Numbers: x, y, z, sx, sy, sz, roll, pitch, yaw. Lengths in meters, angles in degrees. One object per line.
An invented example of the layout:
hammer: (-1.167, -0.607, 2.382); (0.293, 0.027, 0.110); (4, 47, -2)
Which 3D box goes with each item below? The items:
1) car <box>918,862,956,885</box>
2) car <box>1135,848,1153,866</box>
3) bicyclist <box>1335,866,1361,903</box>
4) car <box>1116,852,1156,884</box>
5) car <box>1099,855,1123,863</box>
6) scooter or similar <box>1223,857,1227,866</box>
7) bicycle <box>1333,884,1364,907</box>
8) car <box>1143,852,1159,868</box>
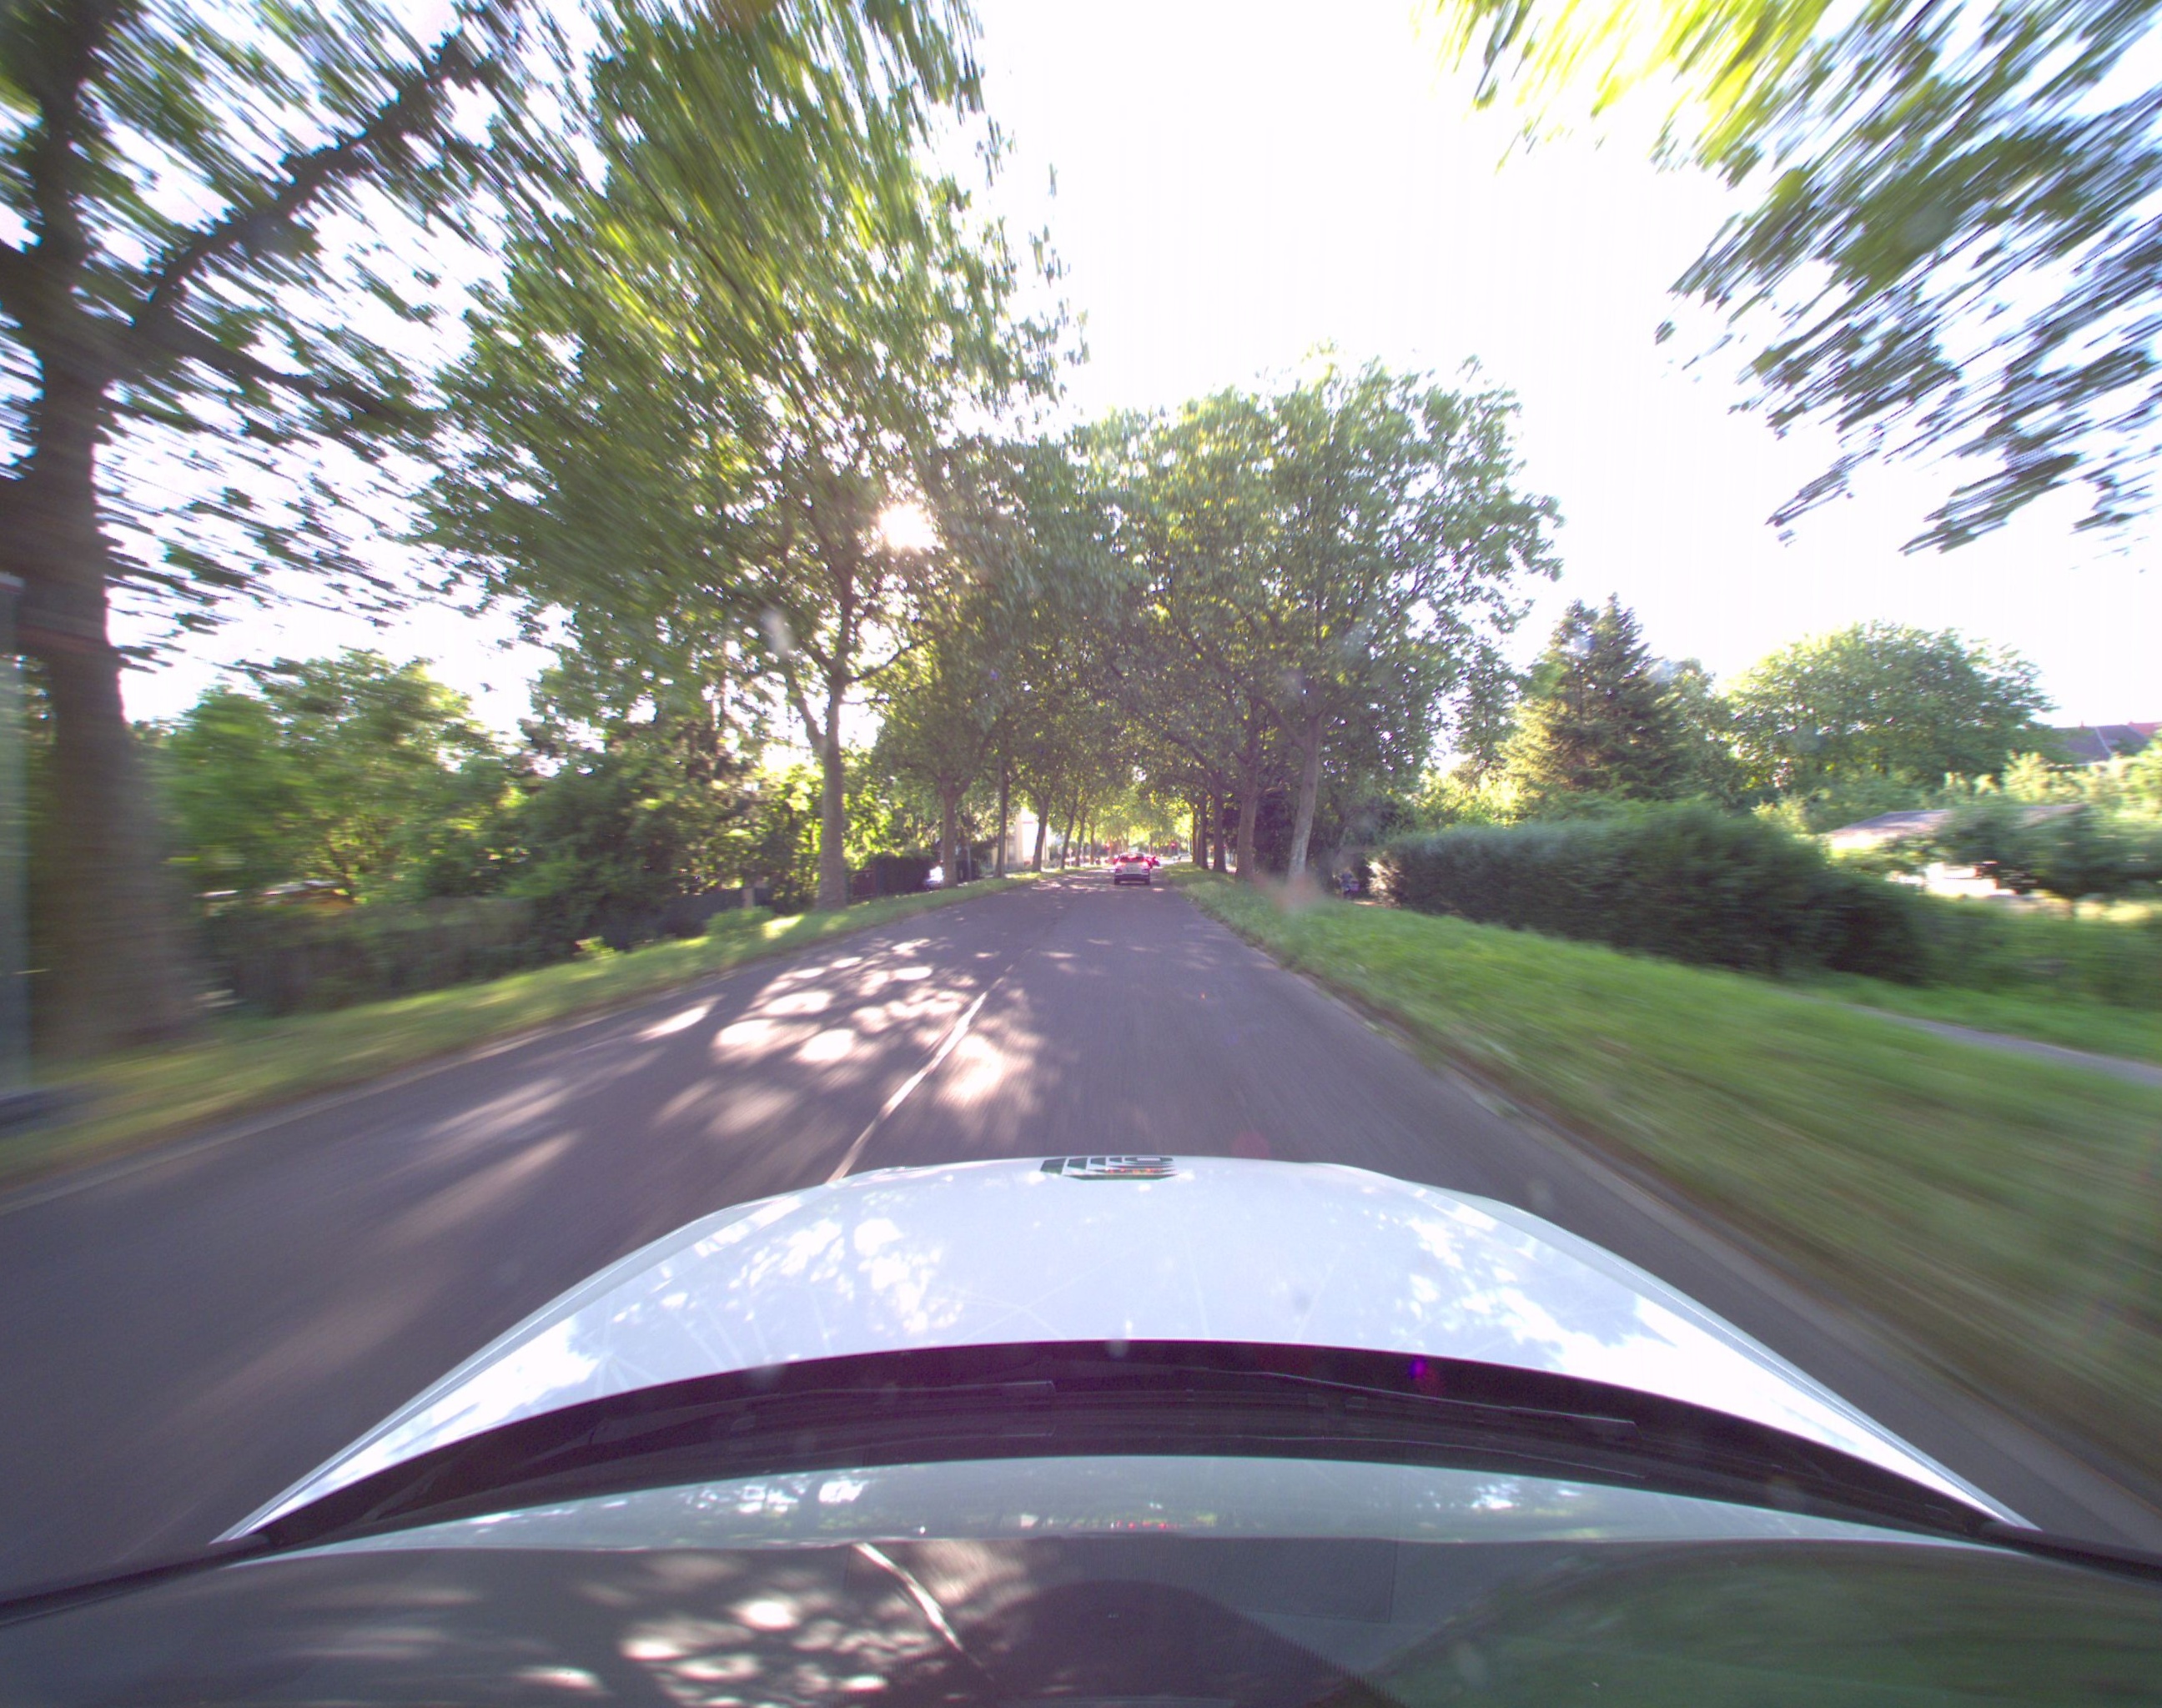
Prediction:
car: (-9.642, 1.272, 54.724); (1.746, 1.304, 4.001); (-2, 1, 1)
car: (7.028, 0.327, 91.048); (1.984, 2.014, 4.005); (0, -1, 5)
bicyclist: (10.031, 1.142, 30.596); (0.731, 1.366, 0.770); (0, -1, -1)
car: (2.871, 0.712, 42.267); (1.984, 1.574, 4.005); (0, -1, 4)
car: (5.292, 0.871, 141.356); (3.965, 1.478, 2.004); (0, -1, 7)
scooter or similar: (20.234, 1.033, 114.386); (0.546, 1.258, 2.318); (0, -1, 8)
bicycle: (10.054, 1.553, 30.679); (0.550, 0.817, 1.889); (0, -1, 1)
car: (8.989, 0.741, 104.867); (1.985, 2.014, 4.004); (0, -1, 4)
